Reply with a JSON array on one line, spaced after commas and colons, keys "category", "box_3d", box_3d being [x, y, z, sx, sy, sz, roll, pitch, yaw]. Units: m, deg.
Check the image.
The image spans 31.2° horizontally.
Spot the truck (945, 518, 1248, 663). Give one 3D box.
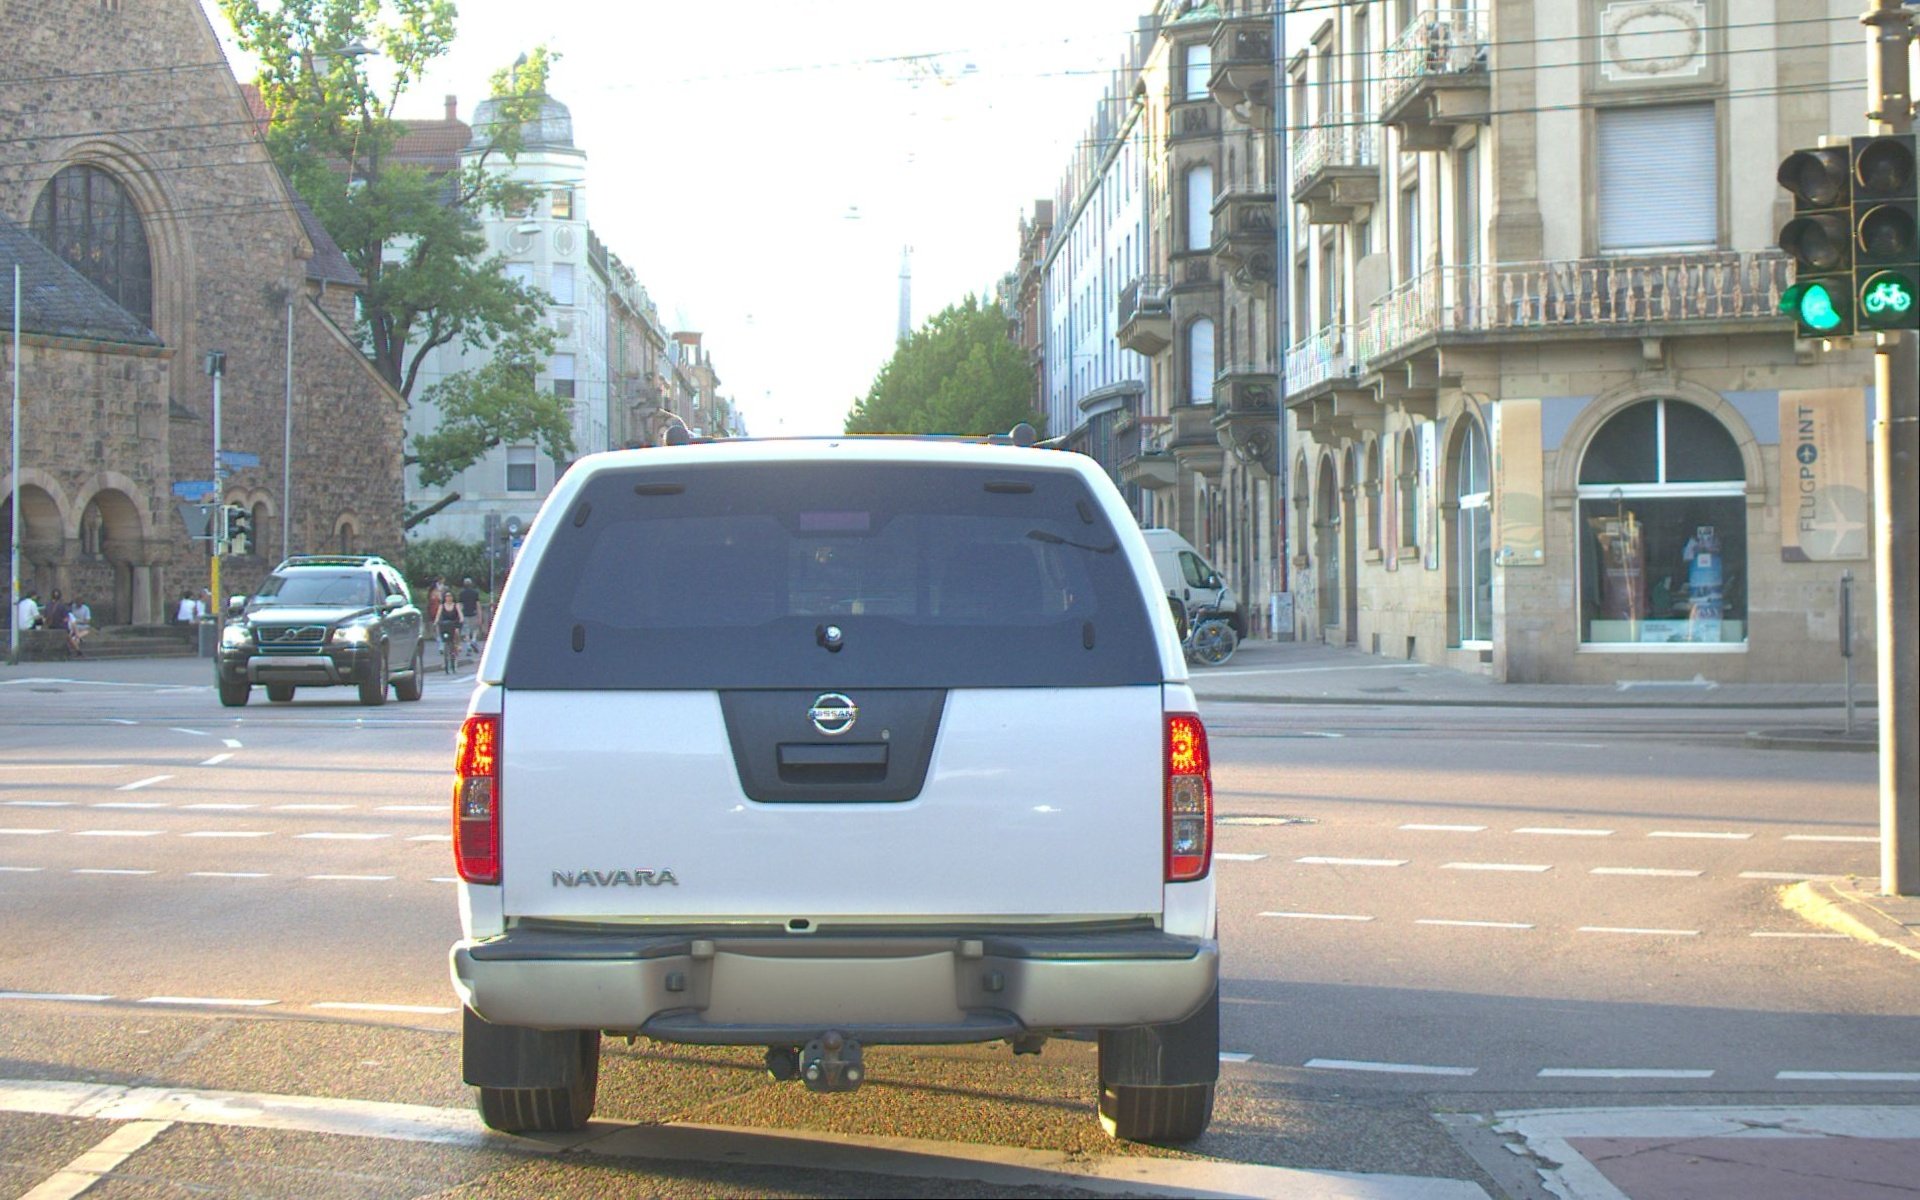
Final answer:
[{"category": "truck", "box_3d": [2.570, -0.166, 63.511, 5.658, 2.556, 2.286, 0, 0, -43]}]

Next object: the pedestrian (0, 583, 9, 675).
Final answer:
[{"category": "pedestrian", "box_3d": [-17.983, 0.534, 63.404, 0.634, 1.693, 0.602, 0, 0, 11]}]

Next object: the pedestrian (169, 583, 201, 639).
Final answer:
[{"category": "pedestrian", "box_3d": [-17.200, 0.238, 76.317, 0.478, 1.241, 0.523, 0, 0, 17]}]

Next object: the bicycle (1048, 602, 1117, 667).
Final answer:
[{"category": "bicycle", "box_3d": [2.077, 0.584, 58.301, 1.077, 1.021, 0.317, -4, 0, -2]}]

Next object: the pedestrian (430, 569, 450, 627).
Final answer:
[{"category": "pedestrian", "box_3d": [-15.348, -0.062, 101.481, 0.560, 1.690, 0.645, 1, 0, -8]}]

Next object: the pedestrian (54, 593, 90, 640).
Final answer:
[{"category": "pedestrian", "box_3d": [-18.266, 0.345, 70.692, 0.478, 0.957, 0.522, 0, 0, 30]}]

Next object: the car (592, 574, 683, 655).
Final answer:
[{"category": "car", "box_3d": [-8.339, 0.360, 89.292, 1.993, 2.007, 4.951, -1, 0, -2]}]

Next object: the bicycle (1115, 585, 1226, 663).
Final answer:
[{"category": "bicycle", "box_3d": [3.628, 0.412, 59.324, 1.817, 1.234, 0.412, -4, 0, -2]}]

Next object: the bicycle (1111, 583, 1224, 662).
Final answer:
[{"category": "bicycle", "box_3d": [3.529, 0.387, 58.598, 1.817, 1.234, 0.478, -4, 0, -2]}]

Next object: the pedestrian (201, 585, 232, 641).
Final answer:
[{"category": "pedestrian", "box_3d": [-16.641, 0.284, 76.917, 0.478, 1.241, 0.523, 0, 0, 17]}]

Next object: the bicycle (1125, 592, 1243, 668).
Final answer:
[{"category": "bicycle", "box_3d": [3.708, 0.492, 56.946, 1.817, 1.146, 0.636, -4, 0, -2]}]

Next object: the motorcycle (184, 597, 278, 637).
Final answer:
[{"category": "motorcycle", "box_3d": [-18.343, 0.417, 86.522, 2.243, 0.984, 0.708, 1, 0, -6]}]

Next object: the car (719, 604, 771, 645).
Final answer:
[{"category": "car", "box_3d": [-8.245, 0.941, 132.127, 1.858, 1.524, 4.000, 0, 0, -2]}]

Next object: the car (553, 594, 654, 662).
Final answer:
[{"category": "car", "box_3d": [-8.268, 0.632, 79.935, 1.993, 1.472, 4.140, -1, 0, -1]}]

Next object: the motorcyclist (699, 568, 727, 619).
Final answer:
[{"category": "motorcyclist", "box_3d": [-8.003, -0.215, 111.405, 0.874, 1.639, 0.963, 0, -1, -2]}]

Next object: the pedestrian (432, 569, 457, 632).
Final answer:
[{"category": "pedestrian", "box_3d": [-15.092, 0.021, 100.641, 0.642, 1.849, 0.562, 1, 0, -15]}]

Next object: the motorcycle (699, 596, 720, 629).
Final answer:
[{"category": "motorcycle", "box_3d": [-8.123, 0.399, 111.416, 0.599, 1.040, 1.946, 0, 0, -2]}]

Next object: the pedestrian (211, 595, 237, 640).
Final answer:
[{"category": "pedestrian", "box_3d": [-16.058, 0.384, 74.993, 0.521, 0.957, 0.479, 1, 0, -16]}]

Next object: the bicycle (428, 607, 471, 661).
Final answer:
[{"category": "bicycle", "box_3d": [-10.060, 0.666, 67.757, 0.599, 1.040, 1.946, 0, 0, -2]}]

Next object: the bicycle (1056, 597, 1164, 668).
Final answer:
[{"category": "bicycle", "box_3d": [2.507, 0.540, 57.416, 1.726, 1.080, 0.317, -4, 0, -2]}]

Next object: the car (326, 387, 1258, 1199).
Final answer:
[{"category": "car", "box_3d": [-0.375, 0.459, 9.437, 1.993, 1.803, 4.000, 1, 0, 0]}]

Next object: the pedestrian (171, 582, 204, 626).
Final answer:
[{"category": "pedestrian", "box_3d": [-16.901, 0.095, 75.225, 0.522, 0.957, 0.479, 0, 0, 17]}]

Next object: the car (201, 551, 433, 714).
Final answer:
[{"category": "car", "box_3d": [-7.719, 0.339, 41.706, 1.993, 1.778, 4.798, 2, 1, -2]}]

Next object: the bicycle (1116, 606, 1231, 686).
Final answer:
[{"category": "bicycle", "box_3d": [3.597, 0.777, 57.886, 1.817, 1.234, 0.488, -4, 0, -2]}]

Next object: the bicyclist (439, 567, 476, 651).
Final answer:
[{"category": "bicyclist", "box_3d": [-9.895, 0.169, 67.671, 0.599, 1.639, 0.963, 0, 0, -2]}]

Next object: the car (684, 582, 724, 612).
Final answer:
[{"category": "car", "box_3d": [-13.333, -0.130, 179.284, 1.858, 1.524, 4.000, 0, 0, -1]}]

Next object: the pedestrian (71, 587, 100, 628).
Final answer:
[{"category": "pedestrian", "box_3d": [-20.584, 0.179, 80.928, 0.551, 0.957, 0.710, 1, 0, -7]}]

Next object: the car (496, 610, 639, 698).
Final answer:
[{"category": "car", "box_3d": [-7.329, 0.986, 64.595, 1.993, 1.552, 4.768, -1, 0, 2]}]

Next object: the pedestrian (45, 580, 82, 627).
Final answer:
[{"category": "pedestrian", "box_3d": [-18.130, 0.069, 69.521, 0.522, 0.957, 0.479, 0, 0, 19]}]

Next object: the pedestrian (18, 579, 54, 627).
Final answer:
[{"category": "pedestrian", "box_3d": [-18.755, 0.064, 69.799, 0.522, 0.957, 0.479, 0, 0, 19]}]

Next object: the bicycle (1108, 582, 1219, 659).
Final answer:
[{"category": "bicycle", "box_3d": [3.548, 0.357, 59.929, 1.817, 1.234, 0.410, -4, 0, -2]}]
